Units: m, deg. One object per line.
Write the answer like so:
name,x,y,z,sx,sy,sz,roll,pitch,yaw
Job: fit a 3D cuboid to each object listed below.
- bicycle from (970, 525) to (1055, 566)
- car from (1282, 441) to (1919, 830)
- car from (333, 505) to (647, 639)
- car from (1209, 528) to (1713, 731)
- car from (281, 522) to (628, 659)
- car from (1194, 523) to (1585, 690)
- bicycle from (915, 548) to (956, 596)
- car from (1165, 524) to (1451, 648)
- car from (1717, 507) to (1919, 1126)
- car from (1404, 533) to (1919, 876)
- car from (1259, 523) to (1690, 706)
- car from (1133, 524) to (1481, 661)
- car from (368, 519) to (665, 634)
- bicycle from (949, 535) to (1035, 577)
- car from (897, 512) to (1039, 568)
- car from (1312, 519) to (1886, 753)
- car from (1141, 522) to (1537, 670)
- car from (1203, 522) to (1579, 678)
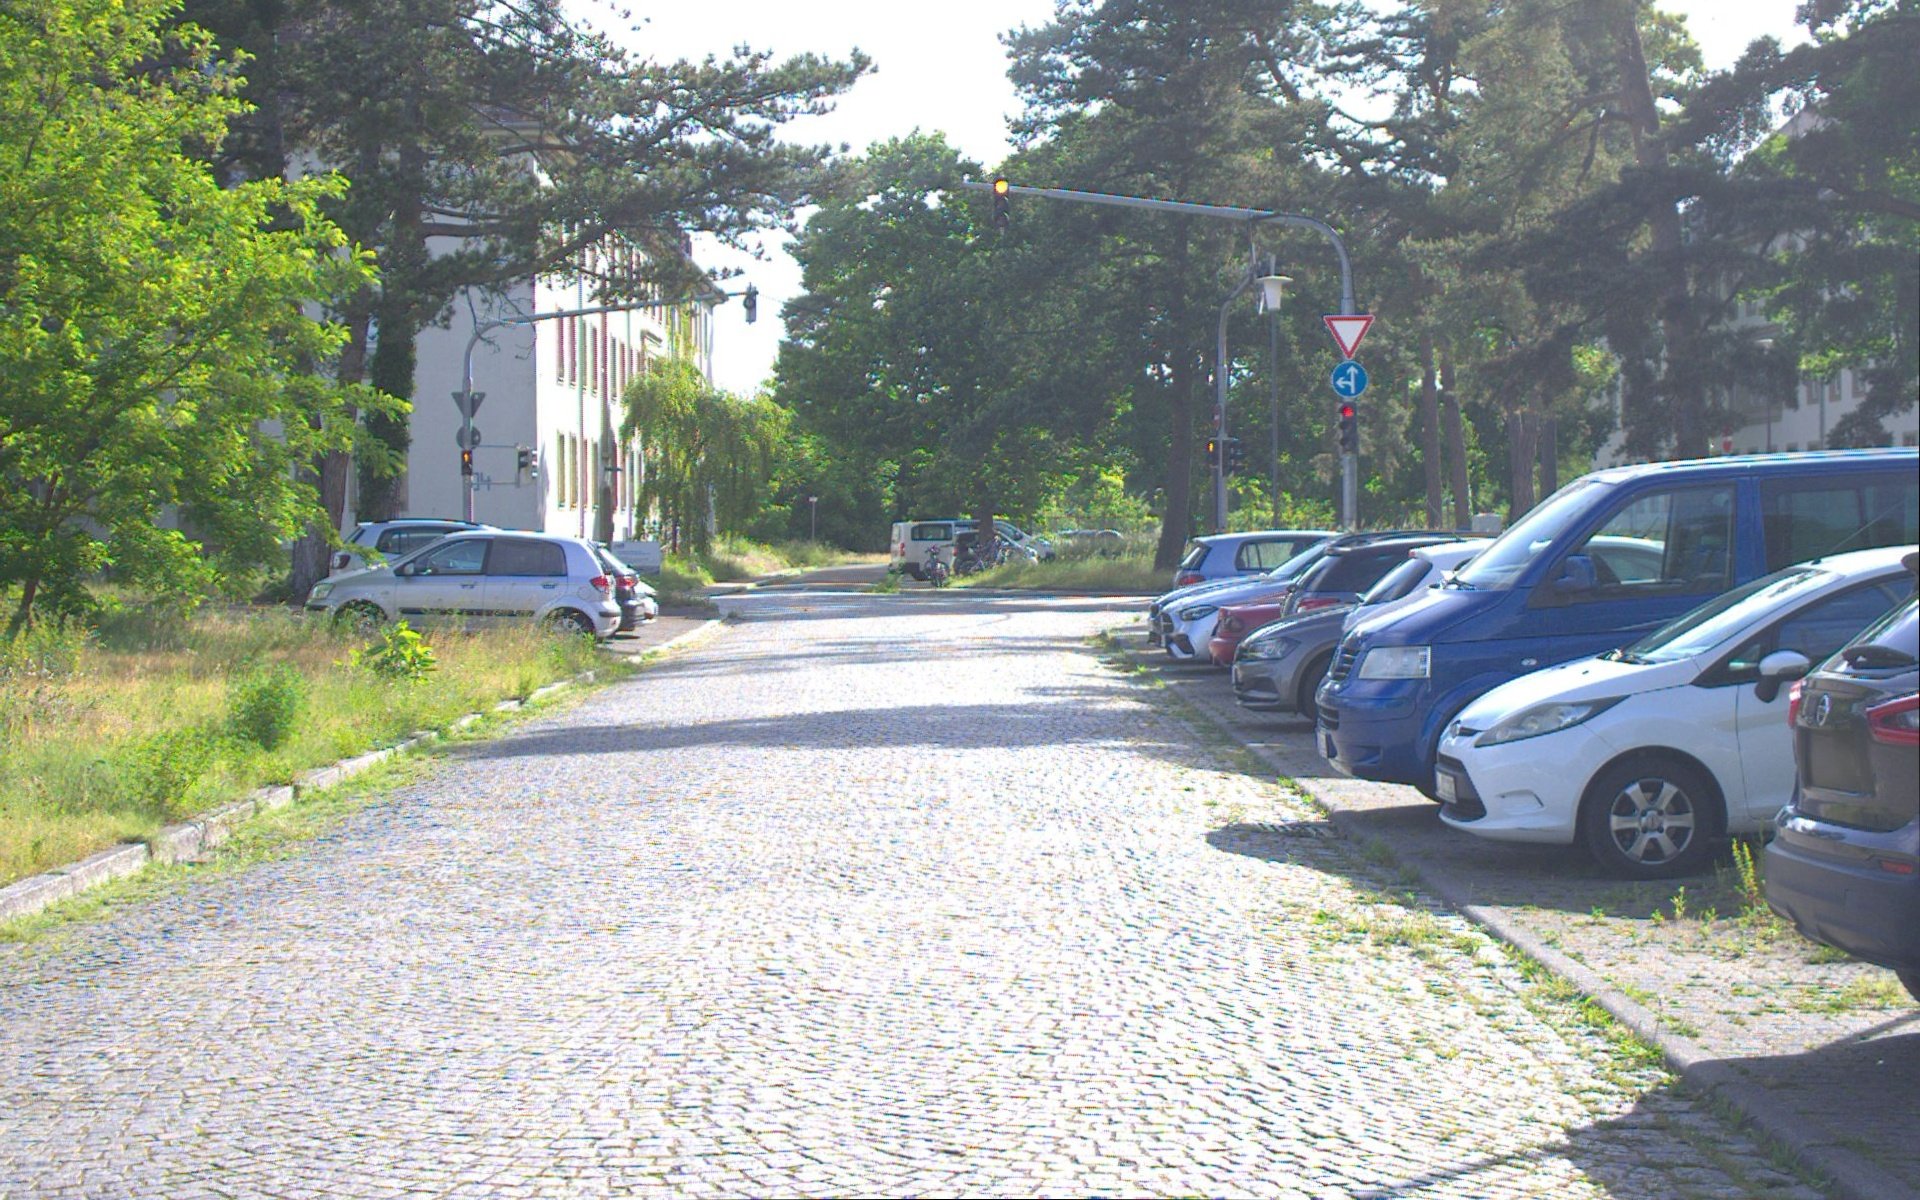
bicycle,1.424,-1.474,92.806,2.172,1.096,0.807,0,1,-10
car,4.259,0.149,18.995,4.676,2.007,2.084,0,1,-3
car,-6.422,-0.406,47.270,3.987,1.596,2.000,3,1,-1
car,3.888,0.208,27.065,3.675,1.462,1.646,-1,1,-1
car,-6.106,-0.138,41.883,3.986,1.595,2.000,0,1,-3
car,4.039,0.043,32.674,3.478,1.524,1.646,0,1,-1
bicycle,-0.627,-0.729,88.175,0.804,1.165,2.181,-2,2,-6
car,4.283,-0.193,42.623,3.343,1.477,1.646,0,1,-1
car,4.356,0.532,9.902,3.935,1.616,1.772,0,1,-1
car,4.109,0.443,16.322,3.719,1.483,1.646,-1,1,-2
car,4.438,0.106,29.981,3.478,1.524,1.646,0,1,-1
car,3.997,-0.106,39.984,3.835,1.524,1.646,0,1,-1
car,-6.367,-0.361,49.672,3.987,1.448,2.000,3,1,-1
bicycle,0.853,-1.180,91.623,2.172,1.096,0.807,0,1,-10
car,0.239,-1.909,109.087,4.480,1.722,2.000,0,1,-1
car,4.424,0.226,24.175,3.694,1.460,1.645,-2,1,1
car,4.066,-0.064,37.212,4.034,1.524,1.646,0,1,-4
car,4.366,-0.017,35.133,3.602,1.524,1.646,0,1,-1
